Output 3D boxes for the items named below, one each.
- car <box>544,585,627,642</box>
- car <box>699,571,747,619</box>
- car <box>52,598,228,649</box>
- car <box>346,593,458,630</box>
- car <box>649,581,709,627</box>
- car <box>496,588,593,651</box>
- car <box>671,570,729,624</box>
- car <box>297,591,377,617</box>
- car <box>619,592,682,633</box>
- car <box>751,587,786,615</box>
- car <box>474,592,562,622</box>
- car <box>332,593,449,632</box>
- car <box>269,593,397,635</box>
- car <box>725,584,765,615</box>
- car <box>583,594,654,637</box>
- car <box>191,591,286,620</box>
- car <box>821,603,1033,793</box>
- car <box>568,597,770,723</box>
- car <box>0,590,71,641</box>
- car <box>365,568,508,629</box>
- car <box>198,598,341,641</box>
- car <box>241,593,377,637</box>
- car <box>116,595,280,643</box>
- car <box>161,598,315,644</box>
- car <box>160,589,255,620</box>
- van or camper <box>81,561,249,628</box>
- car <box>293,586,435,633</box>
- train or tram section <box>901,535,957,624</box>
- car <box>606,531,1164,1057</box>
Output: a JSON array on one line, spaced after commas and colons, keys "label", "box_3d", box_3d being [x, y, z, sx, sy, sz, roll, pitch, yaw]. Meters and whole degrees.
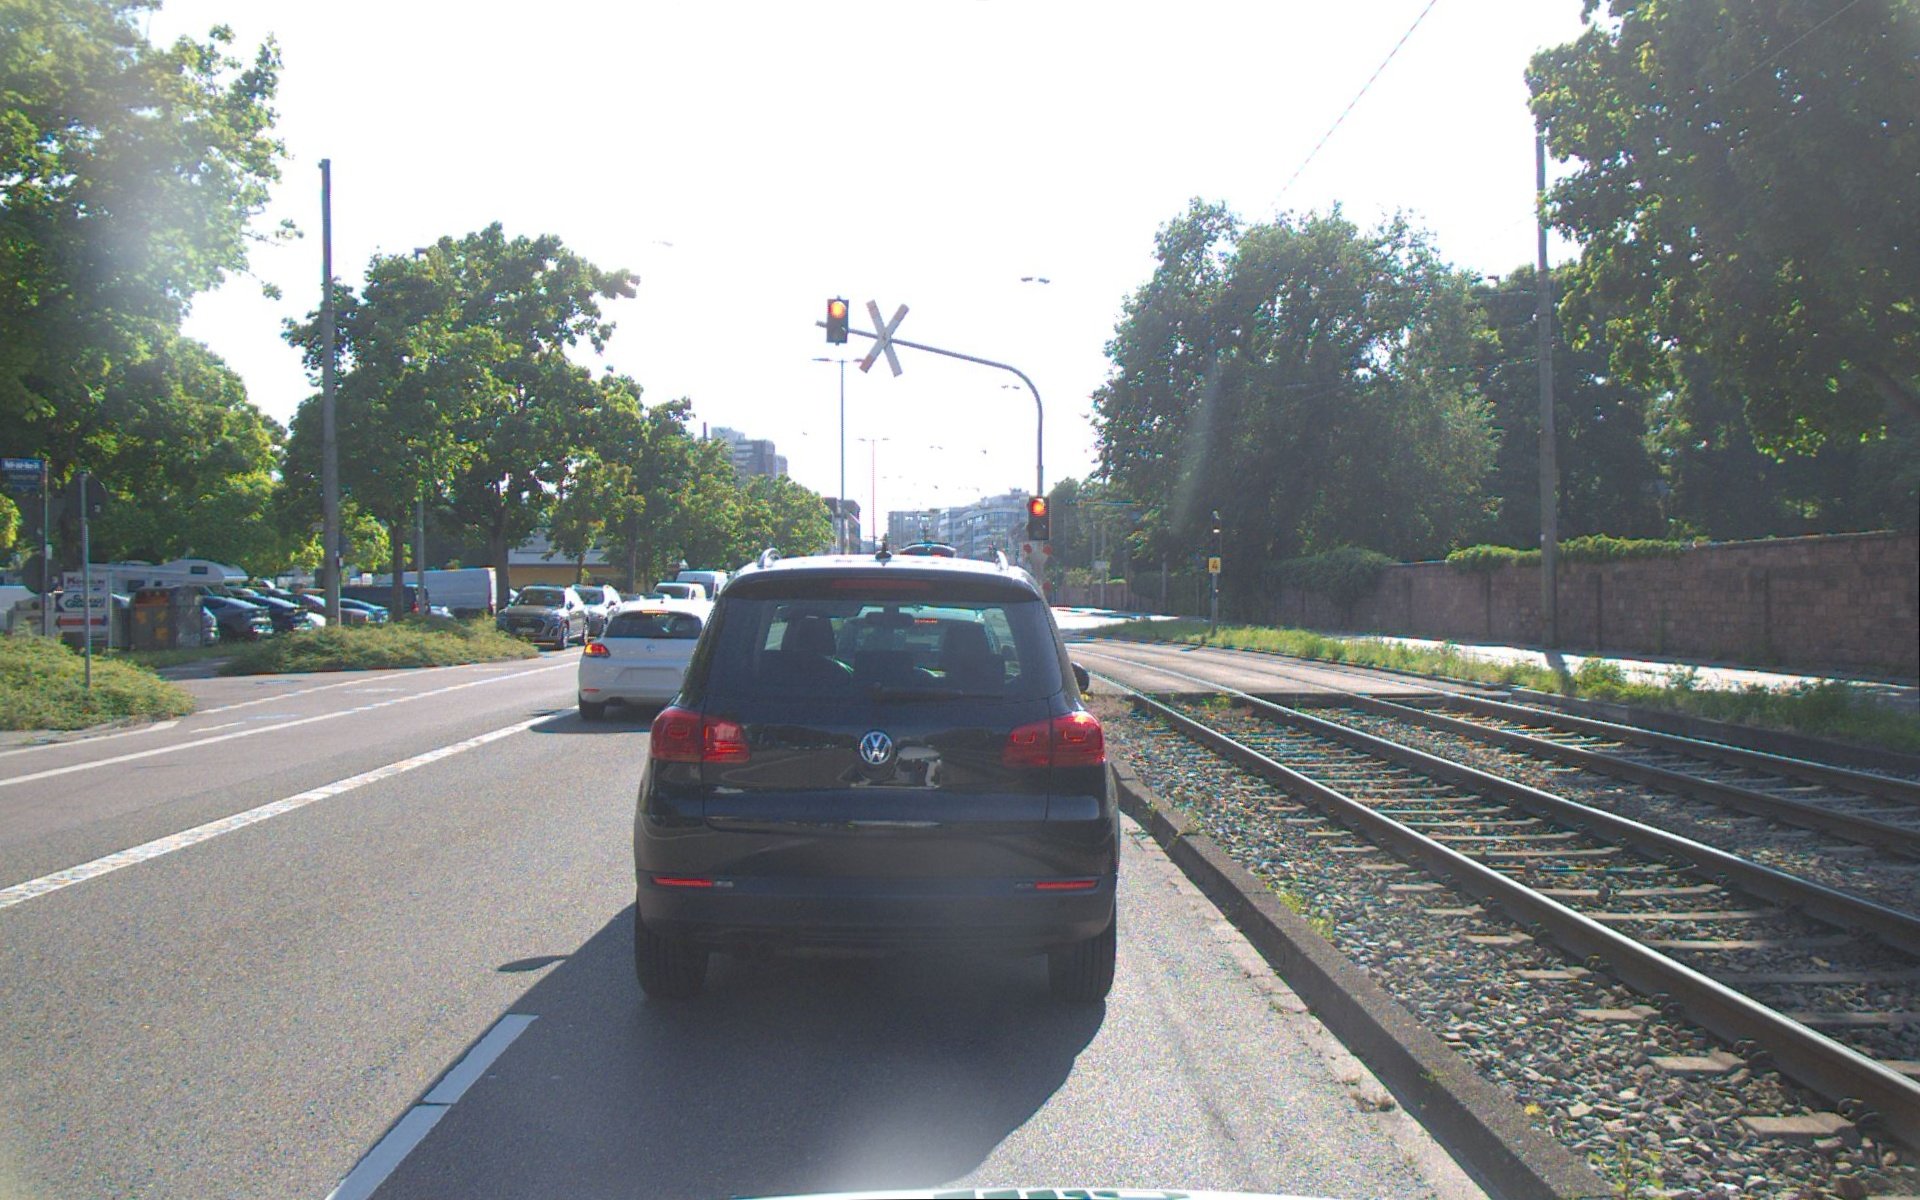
[{"label": "car", "box_3d": [-11.854, 0.399, 52.556, 1.696, 1.724, 4.000, 0, 1, 0]}, {"label": "car", "box_3d": [-11.868, -0.250, 83.042, 1.696, 2.308, 4.645, 0, 0, 0]}, {"label": "car", "box_3d": [-22.398, 0.623, 45.273, 3.908, 1.330, 1.736, -1, 0, -4]}, {"label": "car", "box_3d": [-22.230, 0.444, 65.995, 3.908, 1.422, 1.736, -1, 0, -4]}, {"label": "car", "box_3d": [-11.773, 0.146, 69.541, 1.696, 1.892, 4.489, 0, 0, 0]}, {"label": "car", "box_3d": [-11.621, 0.503, 46.502, 1.696, 1.687, 4.000, 0, 0, 0]}, {"label": "car", "box_3d": [-11.955, -0.169, 76.212, 1.825, 2.388, 4.985, 0, 0, 0]}, {"label": "car", "box_3d": [-35.324, 0.196, 93.831, 3.908, 1.422, 1.736, -1, 0, -4]}, {"label": "car", "box_3d": [-11.990, 0.455, 64.213, 1.696, 1.475, 3.735, 0, 1, 0]}, {"label": "car", "box_3d": [-12.252, 0.073, 106.067, 1.696, 1.724, 4.000, 0, 1, 0]}, {"label": "car", "box_3d": [-21.963, 0.350, 82.297, 3.908, 1.422, 1.736, -1, 0, -4]}, {"label": "car", "box_3d": [-21.890, 0.464, 63.646, 3.908, 1.422, 1.736, -1, 0, -4]}, {"label": "car", "box_3d": [-22.225, 0.487, 58.748, 3.908, 1.422, 1.736, -1, 0, -4]}, {"label": "car", "box_3d": [-12.285, -0.033, 94.682, 1.696, 1.724, 4.000, 0, 1, 0]}, {"label": "car", "box_3d": [-11.995, 0.511, 58.335, 1.696, 1.413, 3.735, 0, 1, 0]}, {"label": "car", "box_3d": [-35.704, 0.267, 81.907, 3.908, 1.422, 1.736, -1, 0, -4]}, {"label": "car", "box_3d": [-0.283, 0.760, 14.800, 1.635, 1.411, 3.999, 0, 0, -1]}, {"label": "car", "box_3d": [-3.460, 0.663, 20.388, 1.827, 1.371, 3.999, 0, 0, -1]}, {"label": "car", "box_3d": [-33.932, 0.544, 58.596, 3.912, 1.758, 1.624, -1, 0, -8]}, {"label": "car", "box_3d": [-21.843, -0.084, 69.151, 5.266, 2.466, 2.087, -1, 0, -1]}, {"label": "car", "box_3d": [-22.322, 0.609, 53.564, 3.908, 1.330, 1.736, -1, 0, -4]}, {"label": "car", "box_3d": [-21.904, 0.505, 55.787, 3.908, 1.422, 1.736, -1, 0, -4]}, {"label": "car", "box_3d": [-21.919, 0.537, 47.694, 3.908, 1.330, 1.736, -1, 0, -4]}, {"label": "car", "box_3d": [-21.908, 0.629, 50.287, 3.908, 1.330, 1.736, -1, 0, -4]}, {"label": "car", "box_3d": [-34.893, 0.199, 76.751, 3.591, 1.422, 1.736, -1, 0, -4]}, {"label": "van or camper", "box_3d": [-35.309, -0.258, 73.574, 6.332, 2.918, 2.307, 0, 0, -1]}, {"label": "car", "box_3d": [-21.986, 0.346, 61.142, 4.526, 1.680, 2.048, -1, 0, -3]}, {"label": "train or tram section", "box_3d": [-1.341, -0.888, 72.313, 2.279, 3.632, 8.898, 0, 0, -1]}, {"label": "car", "box_3d": [-0.267, 0.627, 7.318, 1.774, 1.673, 3.999, 1, 0, -1]}]
